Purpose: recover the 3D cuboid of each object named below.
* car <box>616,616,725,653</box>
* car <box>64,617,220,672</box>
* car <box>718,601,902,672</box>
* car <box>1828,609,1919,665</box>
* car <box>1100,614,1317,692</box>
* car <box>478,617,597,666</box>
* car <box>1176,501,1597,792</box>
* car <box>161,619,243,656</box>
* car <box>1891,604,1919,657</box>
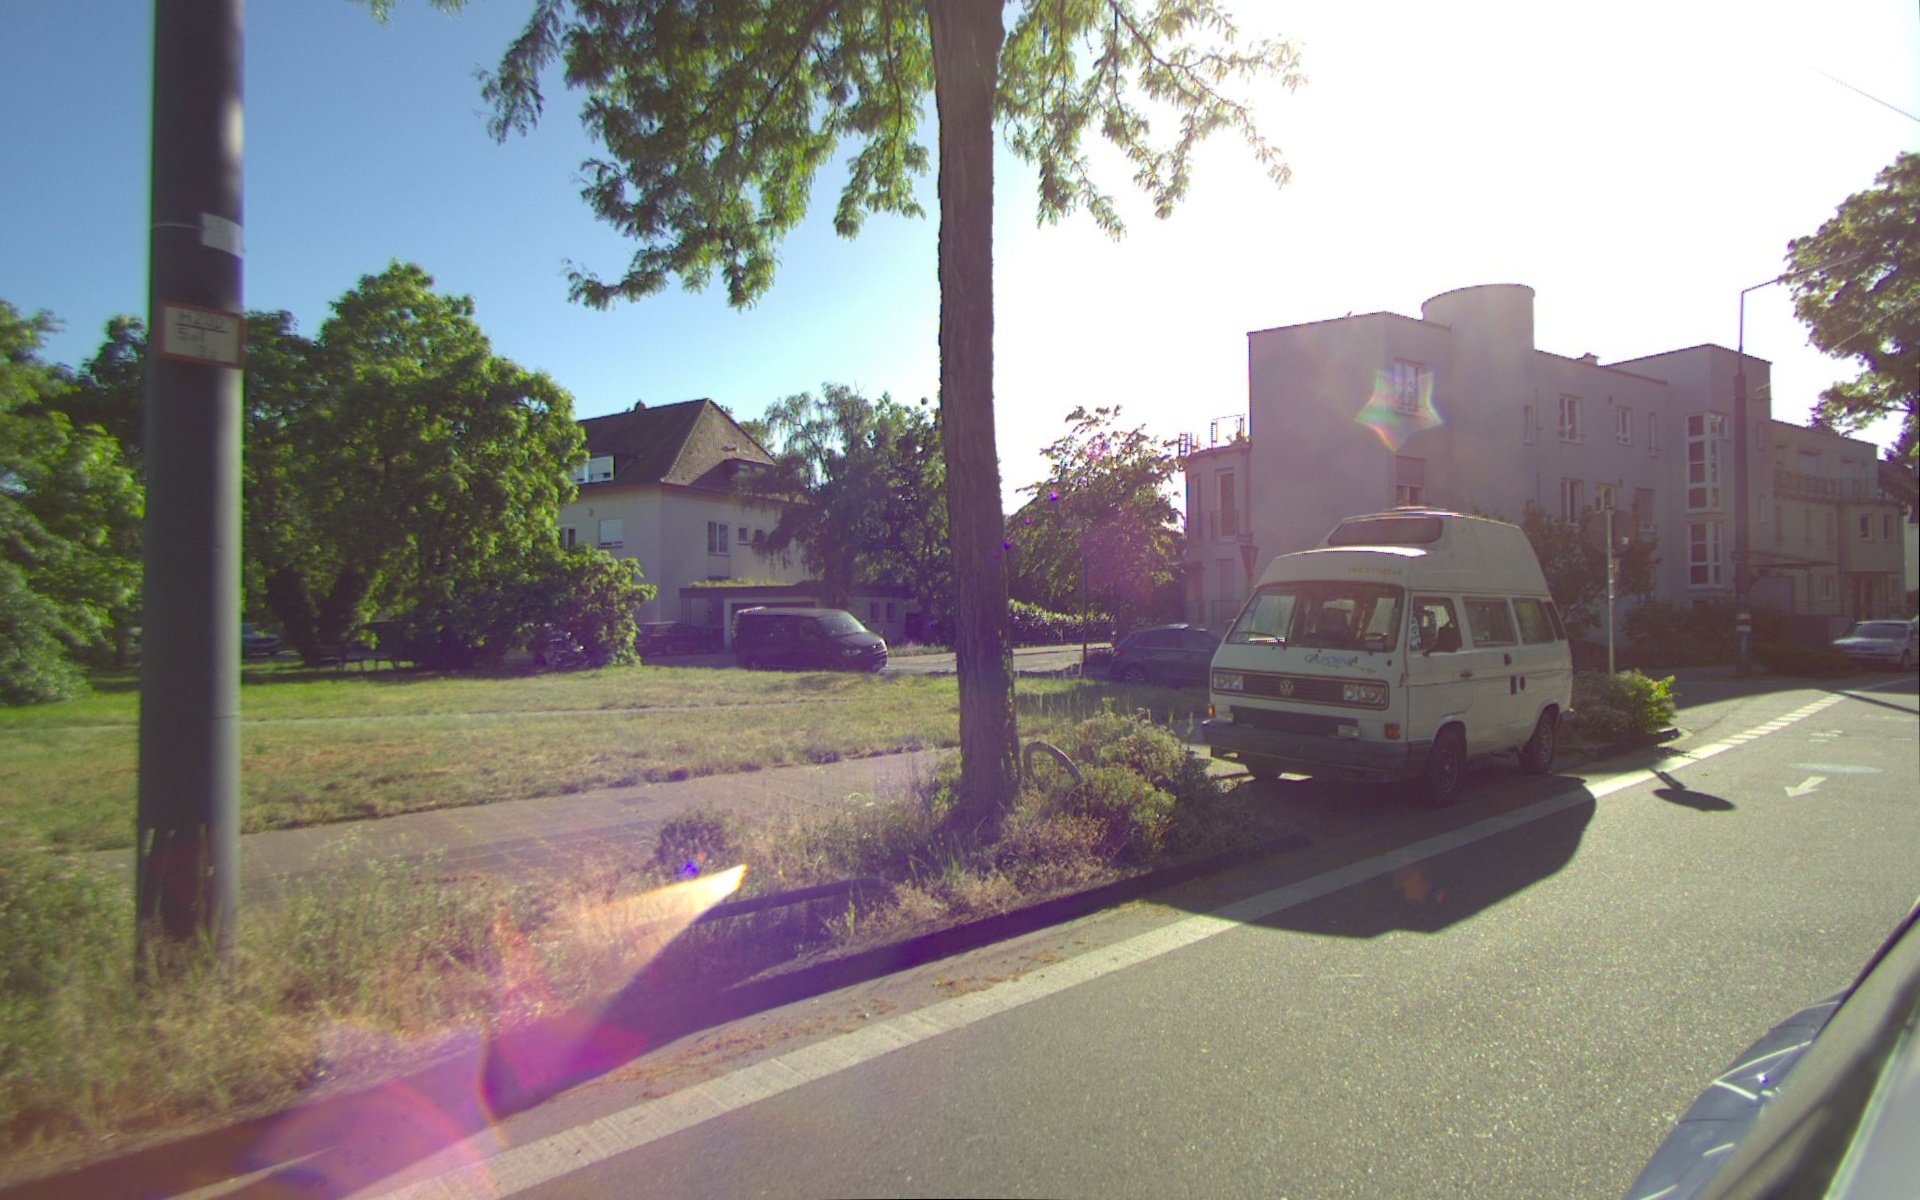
[{"bbox_3d":[-12.736,1.484,44.723,1.984,1.520,4.534,0,-1,31],"label":"car"},{"bbox_3d":[-29.024,1.534,36.009,1.987,1.819,3.948,-1,-1,36],"label":"car"},{"bbox_3d":[-4.406,1.055,29.332,5.171,1.909,2.076,-2,-2,32],"label":"car"},{"bbox_3d":[27.078,1.021,29.242,4.440,1.515,1.744,0,-1,-32],"label":"car"},{"bbox_3d":[5.662,1.143,23.169,4.427,1.508,1.988,-1,3,32],"label":"car"},{"bbox_3d":[-15.062,1.423,36.000,4.201,1.613,1.975,0,-1,35],"label":"car"},{"bbox_3d":[4.261,0.361,9.712,4.636,2.122,1.995,1,-1,-43],"label":"car"},{"bbox_3d":[-39.107,1.934,52.217,3.964,1.819,1.979,-1,-1,29],"label":"car"},{"bbox_3d":[31.847,0.938,32.249,4.509,1.637,2.002,0,0,-31],"label":"car"}]
